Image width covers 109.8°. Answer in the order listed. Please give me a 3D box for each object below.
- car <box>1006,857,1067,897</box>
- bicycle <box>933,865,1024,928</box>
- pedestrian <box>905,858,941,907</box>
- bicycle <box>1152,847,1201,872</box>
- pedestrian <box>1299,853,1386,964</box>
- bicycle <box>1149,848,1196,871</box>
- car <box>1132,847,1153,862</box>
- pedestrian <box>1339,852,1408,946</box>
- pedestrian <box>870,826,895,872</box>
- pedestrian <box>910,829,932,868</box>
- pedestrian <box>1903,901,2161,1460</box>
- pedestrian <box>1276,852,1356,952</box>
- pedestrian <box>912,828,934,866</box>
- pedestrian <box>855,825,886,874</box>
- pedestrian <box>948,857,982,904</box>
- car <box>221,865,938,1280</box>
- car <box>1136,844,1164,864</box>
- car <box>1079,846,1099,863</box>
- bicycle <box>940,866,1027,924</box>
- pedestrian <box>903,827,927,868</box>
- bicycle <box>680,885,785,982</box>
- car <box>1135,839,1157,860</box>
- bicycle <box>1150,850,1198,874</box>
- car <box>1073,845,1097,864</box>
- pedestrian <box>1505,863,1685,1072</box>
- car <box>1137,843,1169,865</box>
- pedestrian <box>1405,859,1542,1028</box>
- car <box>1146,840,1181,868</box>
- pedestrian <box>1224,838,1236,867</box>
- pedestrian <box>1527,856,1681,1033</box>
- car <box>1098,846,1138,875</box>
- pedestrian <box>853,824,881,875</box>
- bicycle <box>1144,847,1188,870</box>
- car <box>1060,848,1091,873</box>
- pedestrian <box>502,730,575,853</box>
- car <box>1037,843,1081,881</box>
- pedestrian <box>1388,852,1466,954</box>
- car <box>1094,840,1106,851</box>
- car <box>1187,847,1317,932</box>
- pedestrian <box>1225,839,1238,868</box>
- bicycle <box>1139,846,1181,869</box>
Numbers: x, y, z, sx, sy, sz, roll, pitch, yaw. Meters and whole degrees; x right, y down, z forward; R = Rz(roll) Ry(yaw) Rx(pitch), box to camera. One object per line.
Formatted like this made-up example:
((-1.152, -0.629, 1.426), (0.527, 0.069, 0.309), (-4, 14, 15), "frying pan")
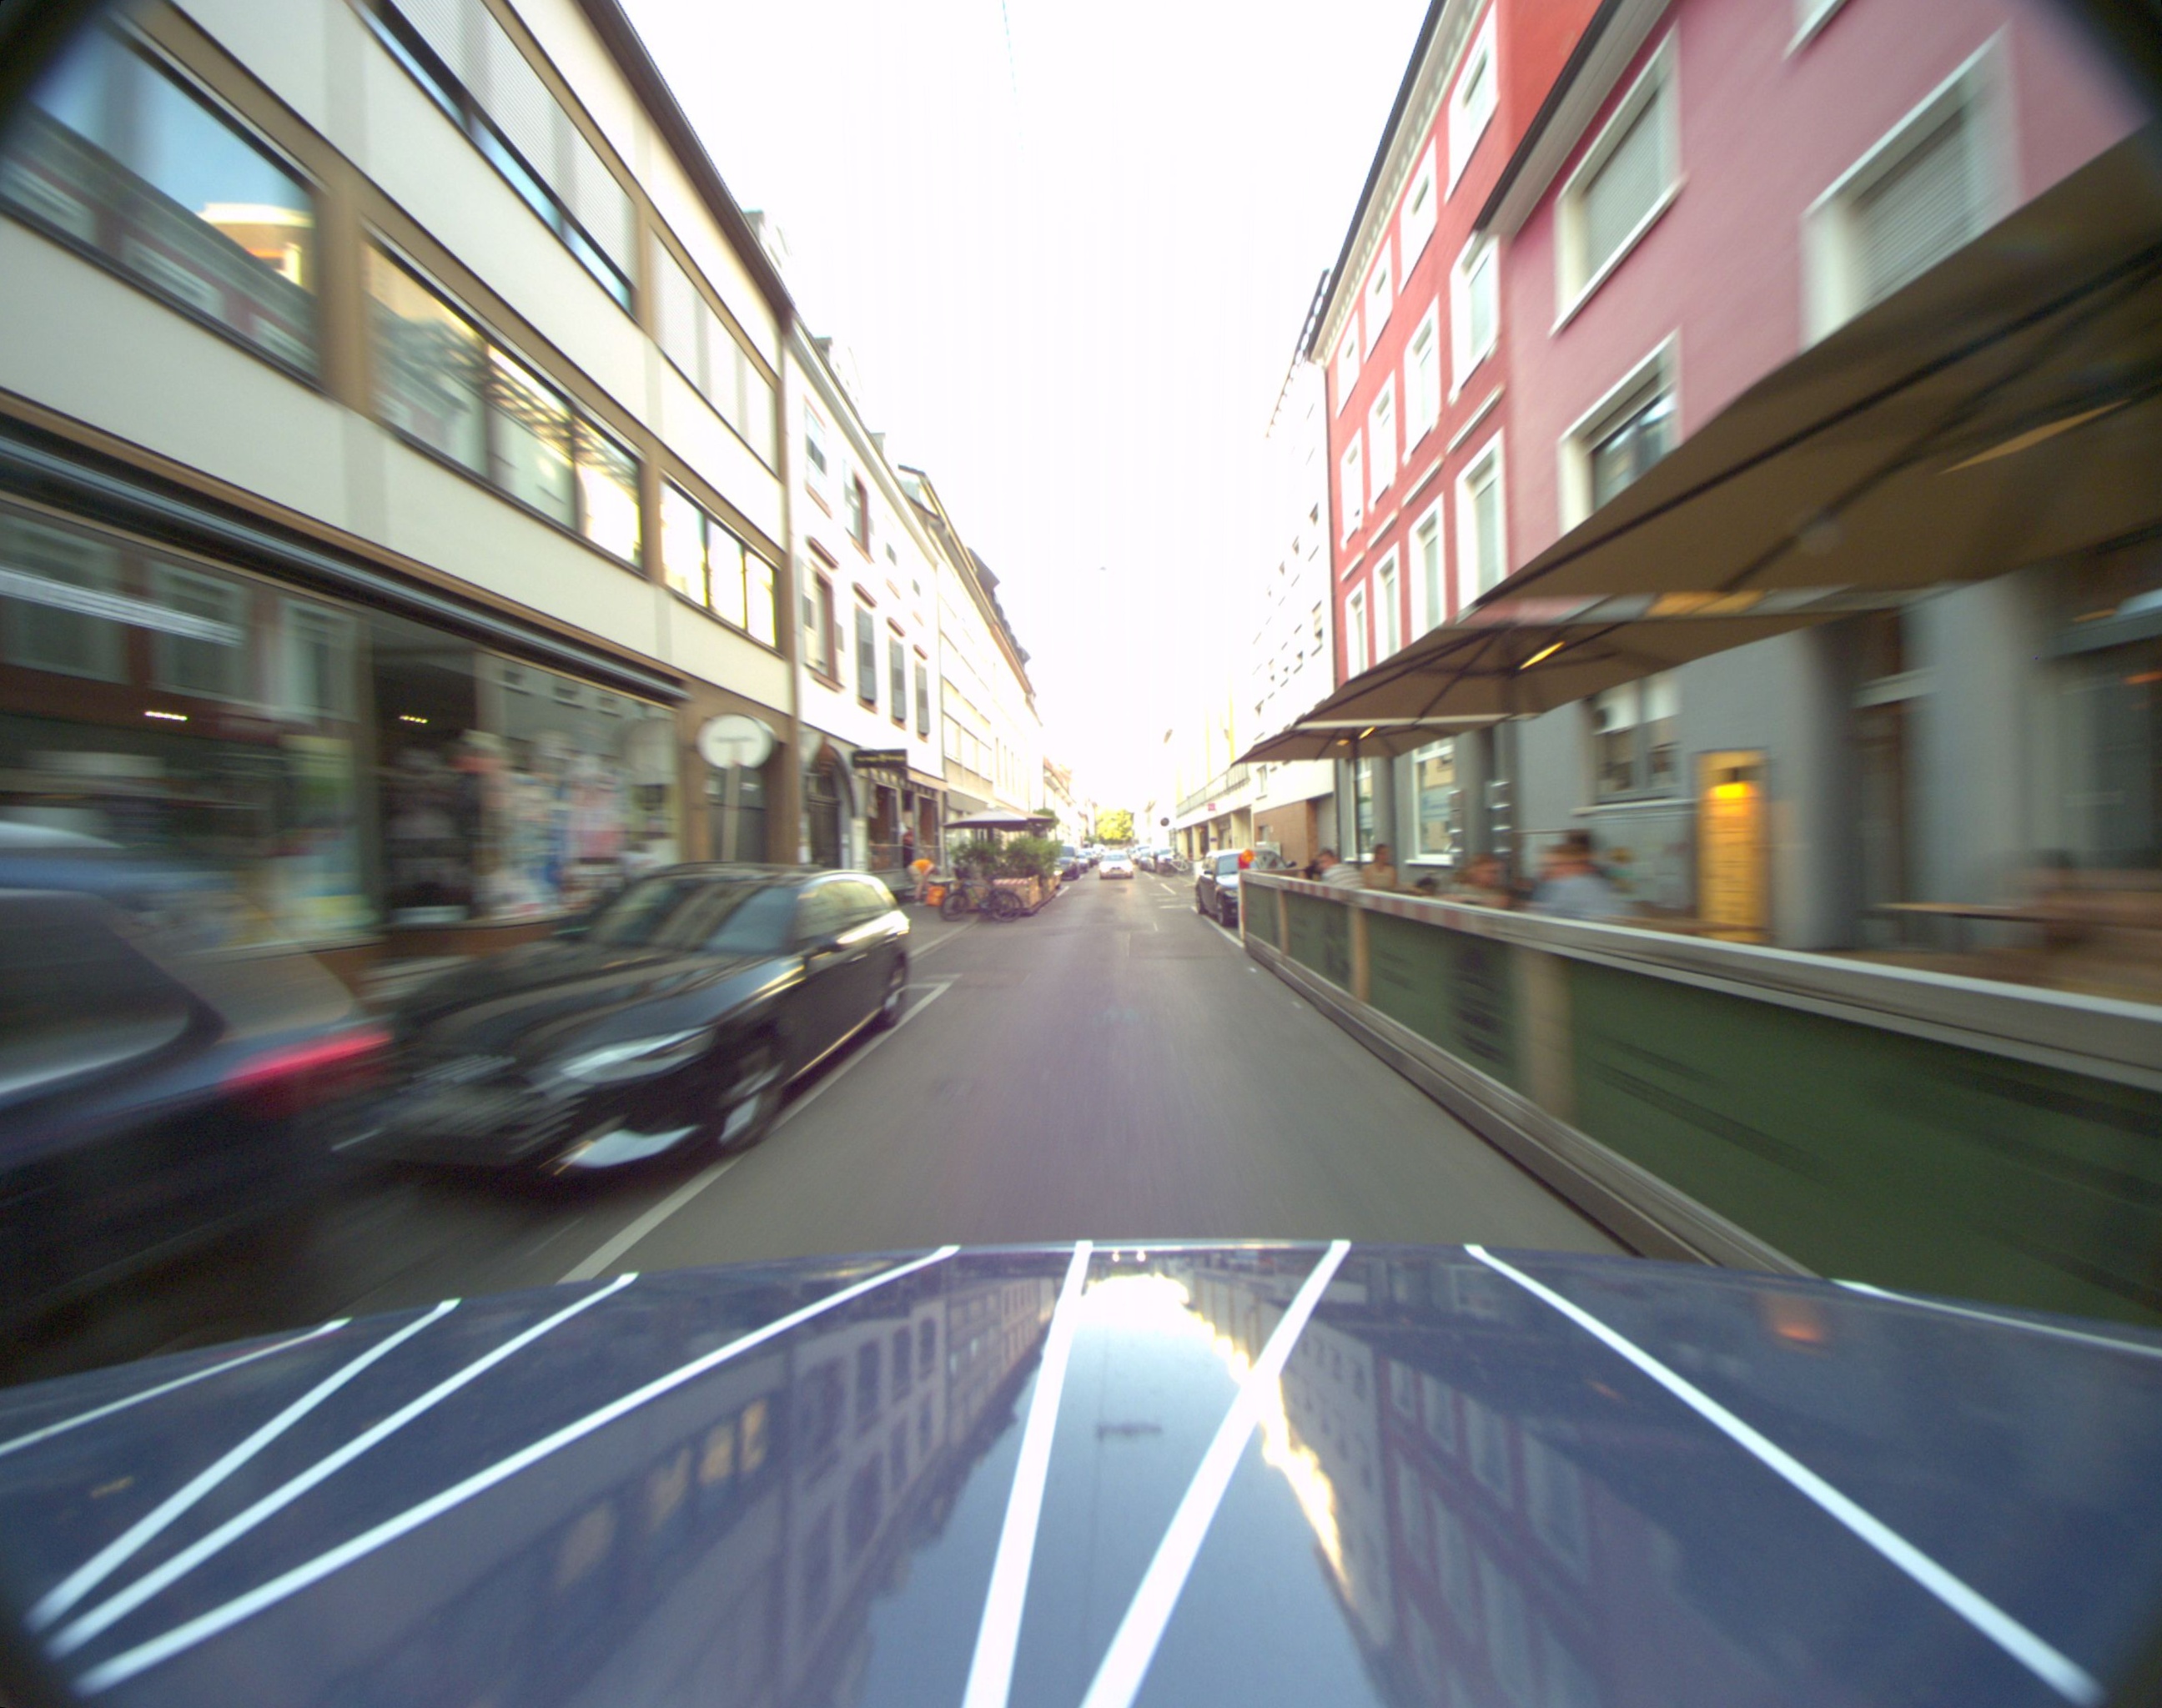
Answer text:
((-1.653, 0.842, 29.573), (1.939, 1.288, 4.000), (-2, 1, 2), "car")
((-2.251, 0.923, 16.778), (1.873, 1.295, 0.596), (2, 1, 3), "bicycle")
((-4.110, 0.734, 19.811), (0.736, 1.236, 0.646), (-1, 2, 2), "pedestrian")
((5.018, 0.274, 39.900), (2.480, 1.172, 0.784), (-2, 2, 8), "bicycle")
((2.671, 0.541, 7.790), (0.634, 1.061, 0.560), (-3, 2, -5), "pedestrian")
((5.021, 0.304, 41.732), (2.480, 1.172, 0.784), (-2, 2, 8), "bicycle")
((6.708, 0.019, 83.294), (1.998, 1.462, 4.459), (-2, 1, 2), "car")
((3.386, 0.507, 8.812), (0.559, 1.031, 0.492), (-3, 2, -5), "pedestrian")
((-5.471, -0.140, 20.953), (0.467, 1.236, 0.609), (-1, 2, 2), "pedestrian")
((-5.139, -0.177, 24.454), (0.568, 1.236, 0.469), (-2, 2, -26), "pedestrian")
((2.427, 0.668, 1.689), (0.612, 1.057, 0.547), (-3, 2, -5), "pedestrian")
((2.647, 0.520, 8.583), (0.673, 1.057, 0.547), (-3, 2, -5), "pedestrian")
((-5.330, -0.240, 25.665), (0.566, 1.236, 0.609), (-1, 2, 2), "pedestrian")
((-5.410, -0.114, 19.546), (0.566, 1.236, 0.609), (-1, 2, 2), "pedestrian")
((-3.190, 0.725, 20.988), (0.736, 1.236, 0.646), (-2, 2, 4), "pedestrian")
((-2.494, 0.924, 5.547), (1.694, 1.507, 4.991), (-2, 1, 2), "car")
((5.573, -0.036, 61.837), (1.998, 1.462, 4.459), (-2, 1, 2), "car")
((0.865, 0.067, 81.493), (1.998, 1.667, 4.459), (-2, 1, 2), "car")
((-2.221, 0.927, 17.461), (1.873, 1.221, 0.596), (2, 1, 3), "bicycle")
((-5.168, -0.214, 23.643), (0.566, 1.236, 0.609), (-1, 2, 2), "pedestrian")
((-4.640, 1.018, 10.249), (0.520, 1.084, 1.752), (2, 1, 2), "bicycle")
((6.679, -0.432, 78.157), (1.998, 2.030, 4.459), (-2, 1, 2), "car")
((5.019, 0.425, 40.835), (2.480, 1.172, 0.784), (-2, 2, 8), "bicycle")
((0.375, 0.009, 70.523), (1.998, 1.667, 4.459), (-2, 1, 2), "car")
((2.856, 0.597, 4.263), (0.612, 1.057, 0.547), (-3, 2, -5), "pedestrian")
((5.256, -0.027, 55.986), (1.998, 1.462, 4.459), (-2, 1, 2), "car")
((2.683, 0.585, 5.236), (0.612, 1.057, 0.547), (-3, 2, -5), "pedestrian")
((5.413, -0.009, 50.362), (1.998, 1.667, 4.459), (-2, 1, 2), "car")
((8.851, -0.083, 45.017), (0.641, 1.653, 0.718), (-2, 1, 12), "pedestrian")
((3.399, 0.558, 4.974), (0.603, 1.057, 0.547), (-3, 2, -5), "pedestrian")
((1.951, 0.301, 40.380), (1.998, 1.414, 4.459), (-2, 1, 2), "car")
((-5.289, -0.105, 18.815), (0.467, 1.236, 0.609), (-1, 2, 2), "pedestrian")
((4.909, 0.264, 43.937), (2.480, 1.172, 0.784), (-2, 2, 8), "bicycle")
((-0.325, 0.422, 55.565), (1.998, 1.667, 4.459), (-2, 1, 2), "car")
((-6.153, -0.692, 8.629), (0.437, 1.342, 0.424), (-3, 2, -1), "pedestrian")
((-1.108, 0.375, 40.302), (1.998, 1.835, 4.000), (-2, 1, 2), "car")
((3.707, 0.506, 8.161), (0.559, 1.031, 0.492), (-3, 2, -5), "pedestrian")
((3.261, -1.446, 131.776), (1.998, 1.884, 4.459), (-2, 1, 2), "car")
((3.343, 0.616, 15.644), (1.722, 1.452, 4.134), (-2, 1, 1), "car")
((8.729, -0.058, 44.127), (0.641, 1.653, 0.718), (-2, 1, 12), "pedestrian")
((4.849, 0.216, 46.810), (2.480, 1.322, 0.784), (-2, 2, 8), "bicycle")
